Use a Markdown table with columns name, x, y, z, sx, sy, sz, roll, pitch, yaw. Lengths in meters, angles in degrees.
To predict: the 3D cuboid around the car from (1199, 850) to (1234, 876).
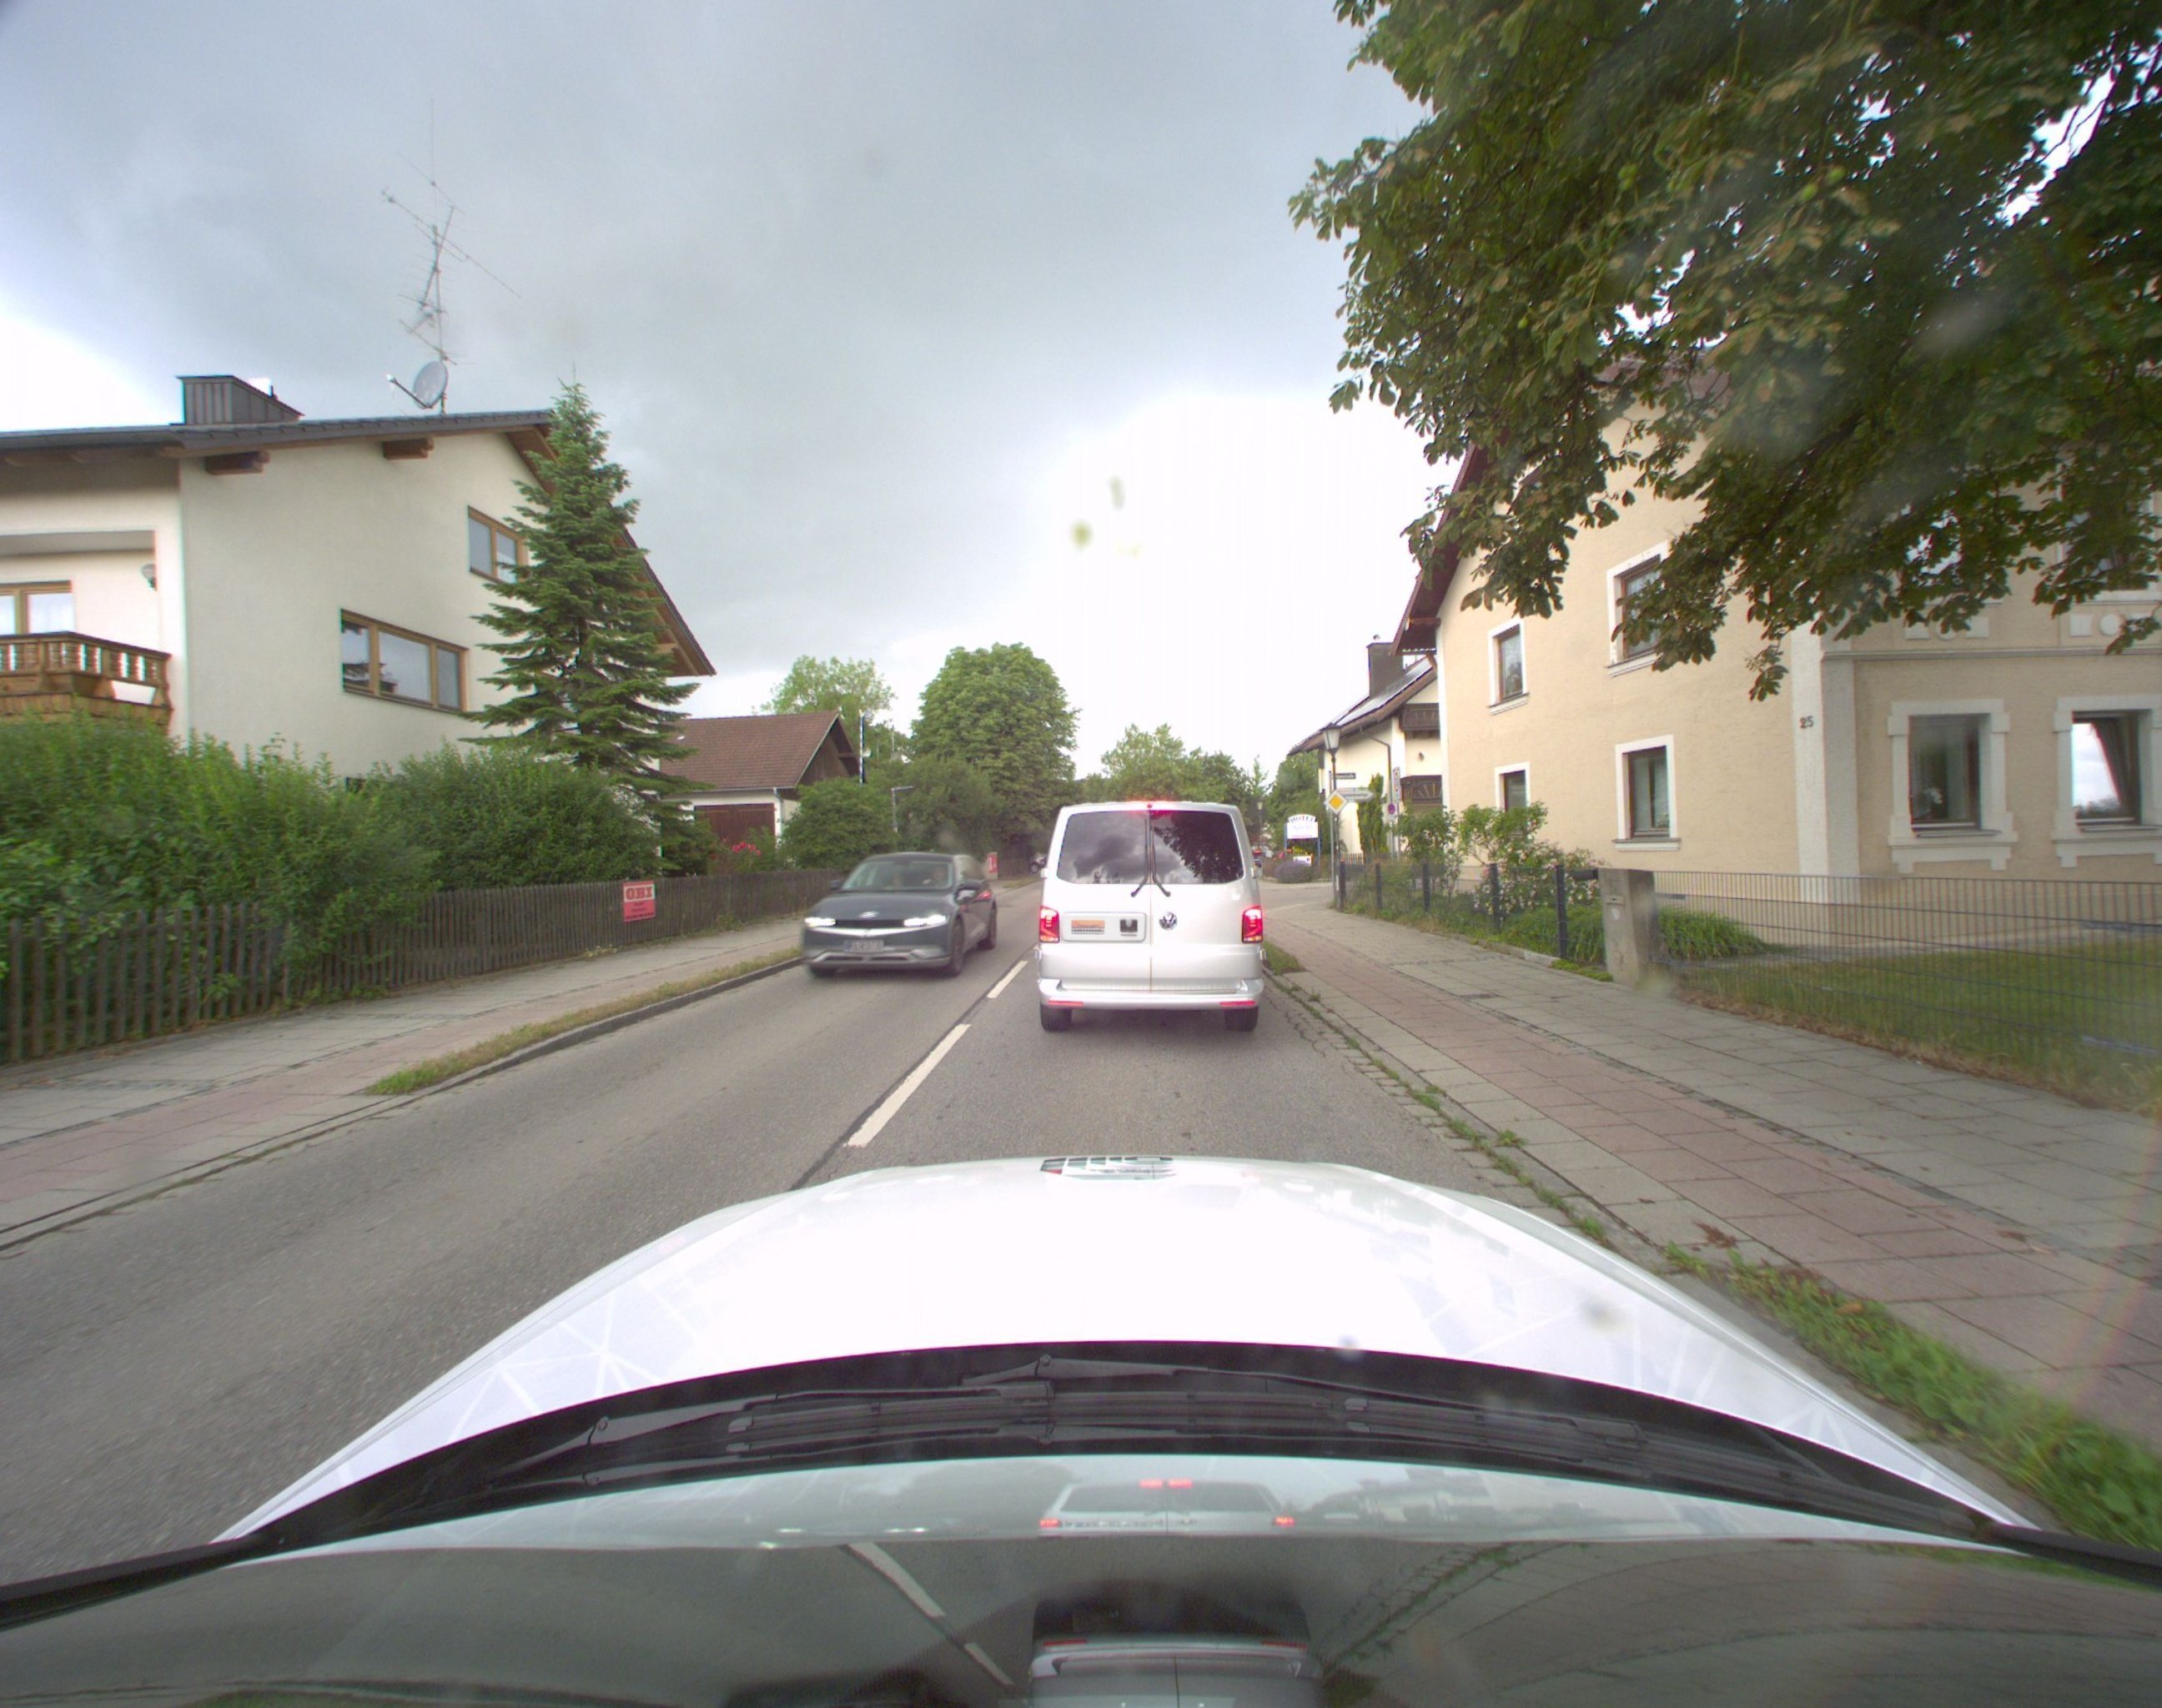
| name | x | y | z | sx | sy | sz | roll | pitch | yaw |
| --- | --- | --- | --- | --- | --- | --- | --- | --- | --- |
| car | 8.800 | 0.556 | 52.742 | 1.868 | 1.535 | 3.936 | -2 | 0 | 14 |

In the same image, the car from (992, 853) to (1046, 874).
| name | x | y | z | sx | sy | sz | roll | pitch | yaw |
| --- | --- | --- | --- | --- | --- | --- | --- | --- | --- |
| car | -4.667 | 0.675 | 60.973 | 3.982 | 1.486 | 1.996 | -1 | 0 | -6 |

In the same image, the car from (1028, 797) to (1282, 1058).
| name | x | y | z | sx | sy | sz | roll | pitch | yaw |
| --- | --- | --- | --- | --- | --- | --- | --- | --- | --- |
| car | 0.661 | 0.562 | 8.151 | 1.873 | 1.940 | 3.924 | -2 | 0 | 3 |

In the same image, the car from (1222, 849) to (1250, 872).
| name | x | y | z | sx | sy | sz | roll | pitch | yaw |
| --- | --- | --- | --- | --- | --- | --- | --- | --- | --- |
| car | 12.481 | 0.461 | 65.541 | 1.867 | 1.748 | 4.097 | -2 | 0 | 15 |

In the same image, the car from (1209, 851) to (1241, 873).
| name | x | y | z | sx | sy | sz | roll | pitch | yaw |
| --- | --- | --- | --- | --- | --- | --- | --- | --- | --- |
| car | 10.379 | 0.548 | 58.543 | 1.867 | 1.535 | 3.937 | -2 | 0 | 16 |

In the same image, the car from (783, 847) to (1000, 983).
| name | x | y | z | sx | sy | sz | roll | pitch | yaw |
| --- | --- | --- | --- | --- | --- | --- | --- | --- | --- |
| car | -2.431 | 0.719 | 11.671 | 1.923 | 1.575 | 4.314 | 0 | 0 | 2 |

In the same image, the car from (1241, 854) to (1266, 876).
| name | x | y | z | sx | sy | sz | roll | pitch | yaw |
| --- | --- | --- | --- | --- | --- | --- | --- | --- | --- |
| car | 15.674 | 0.977 | 73.971 | 1.867 | 1.825 | 3.937 | -2 | 0 | 16 |
